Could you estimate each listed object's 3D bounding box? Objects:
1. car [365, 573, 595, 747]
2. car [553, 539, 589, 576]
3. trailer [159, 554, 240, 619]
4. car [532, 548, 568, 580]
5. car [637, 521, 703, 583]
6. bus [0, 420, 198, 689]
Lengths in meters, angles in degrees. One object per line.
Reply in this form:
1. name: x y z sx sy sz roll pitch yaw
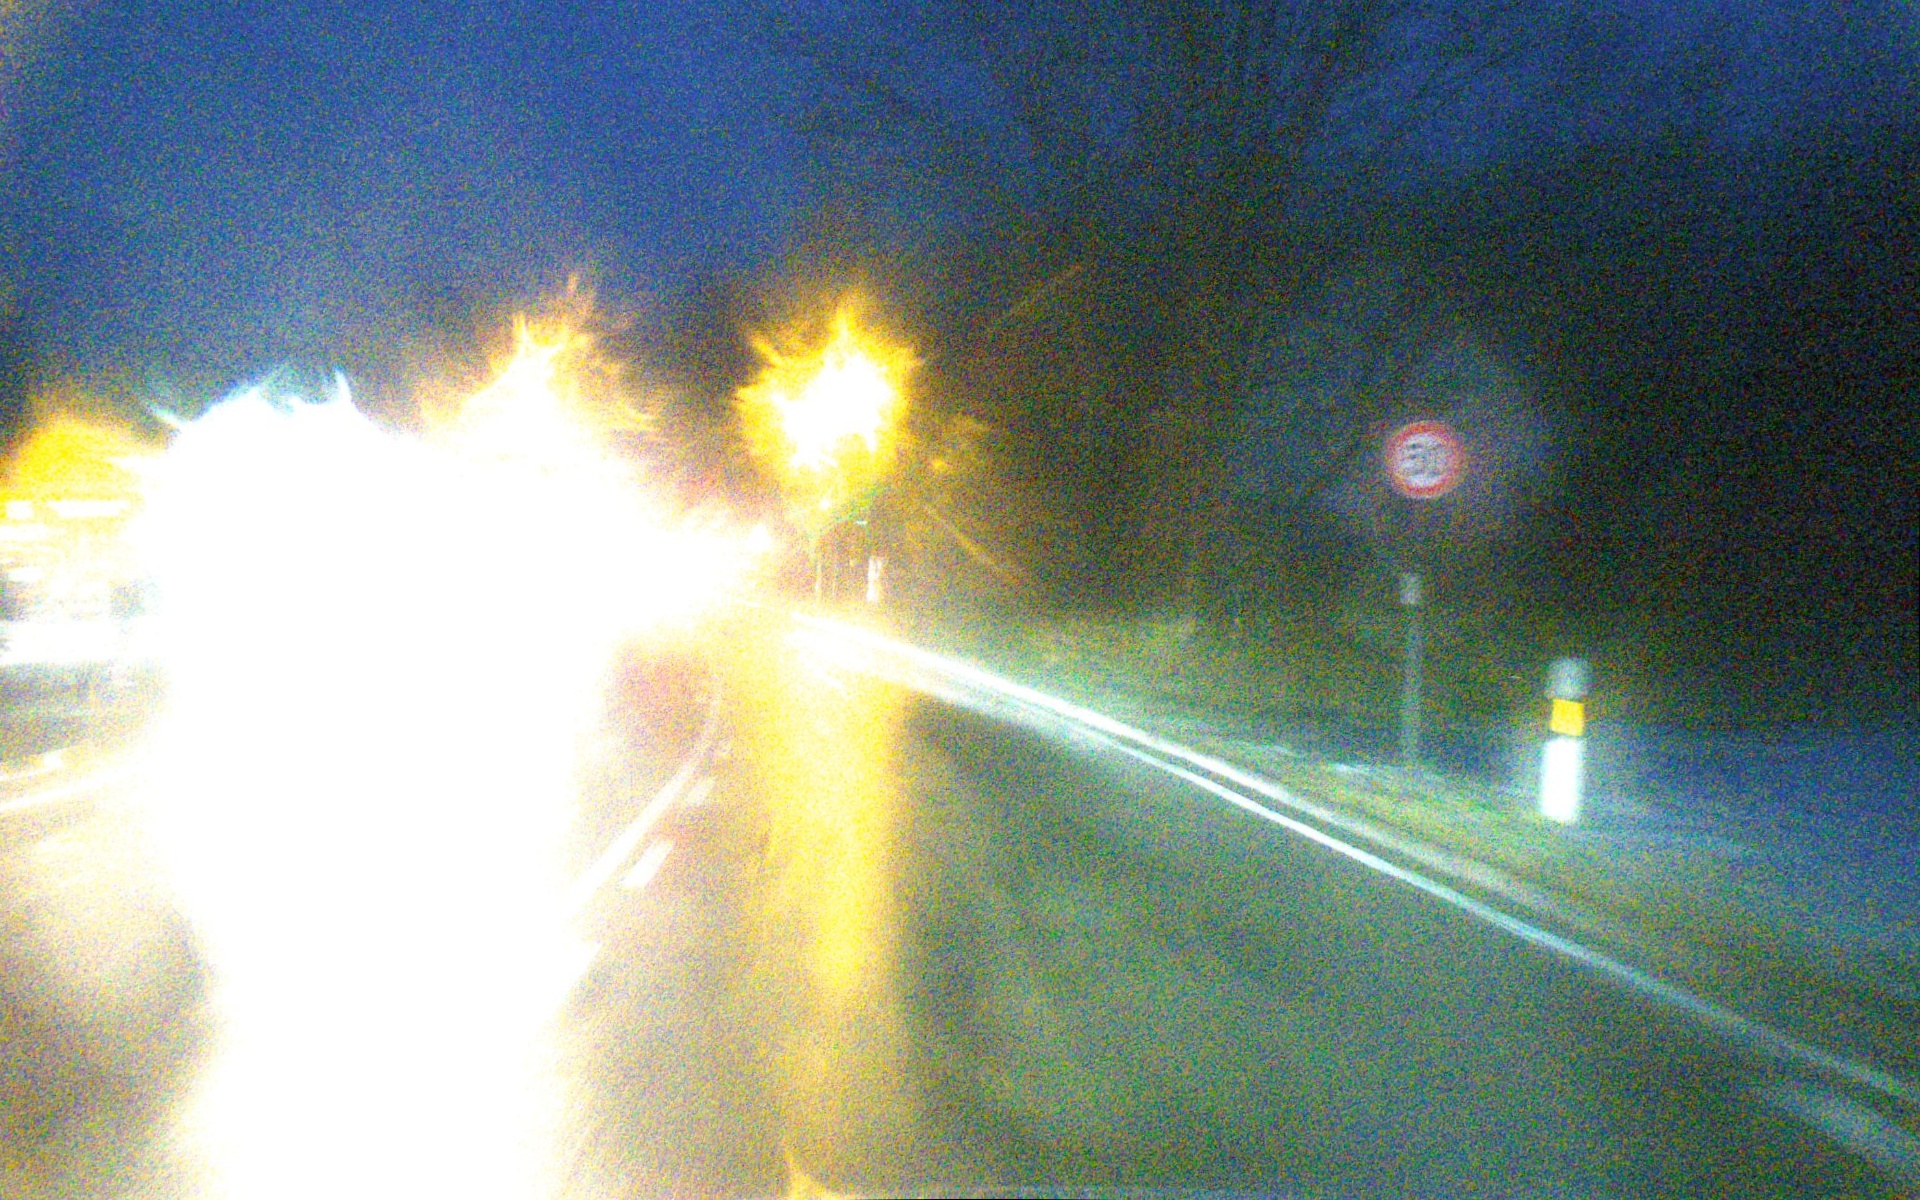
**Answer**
1. car: -4.942 0.531 17.506 1.663 1.627 3.796 0 1 -6
2. car: -23.330 -2.531 99.180 1.960 2.049 3.984 2 -1 -15
3. trailer: -22.173 -0.434 48.334 1.787 1.706 4.076 -2 3 -21
4. car: -20.248 -1.770 81.639 1.608 1.537 4.101 -2 1 -14
5. car: -12.655 -2.138 71.970 2.495 2.540 5.696 0 3 -14
6. bus: -16.203 -0.781 30.512 2.862 3.936 12.931 0 1 -29
